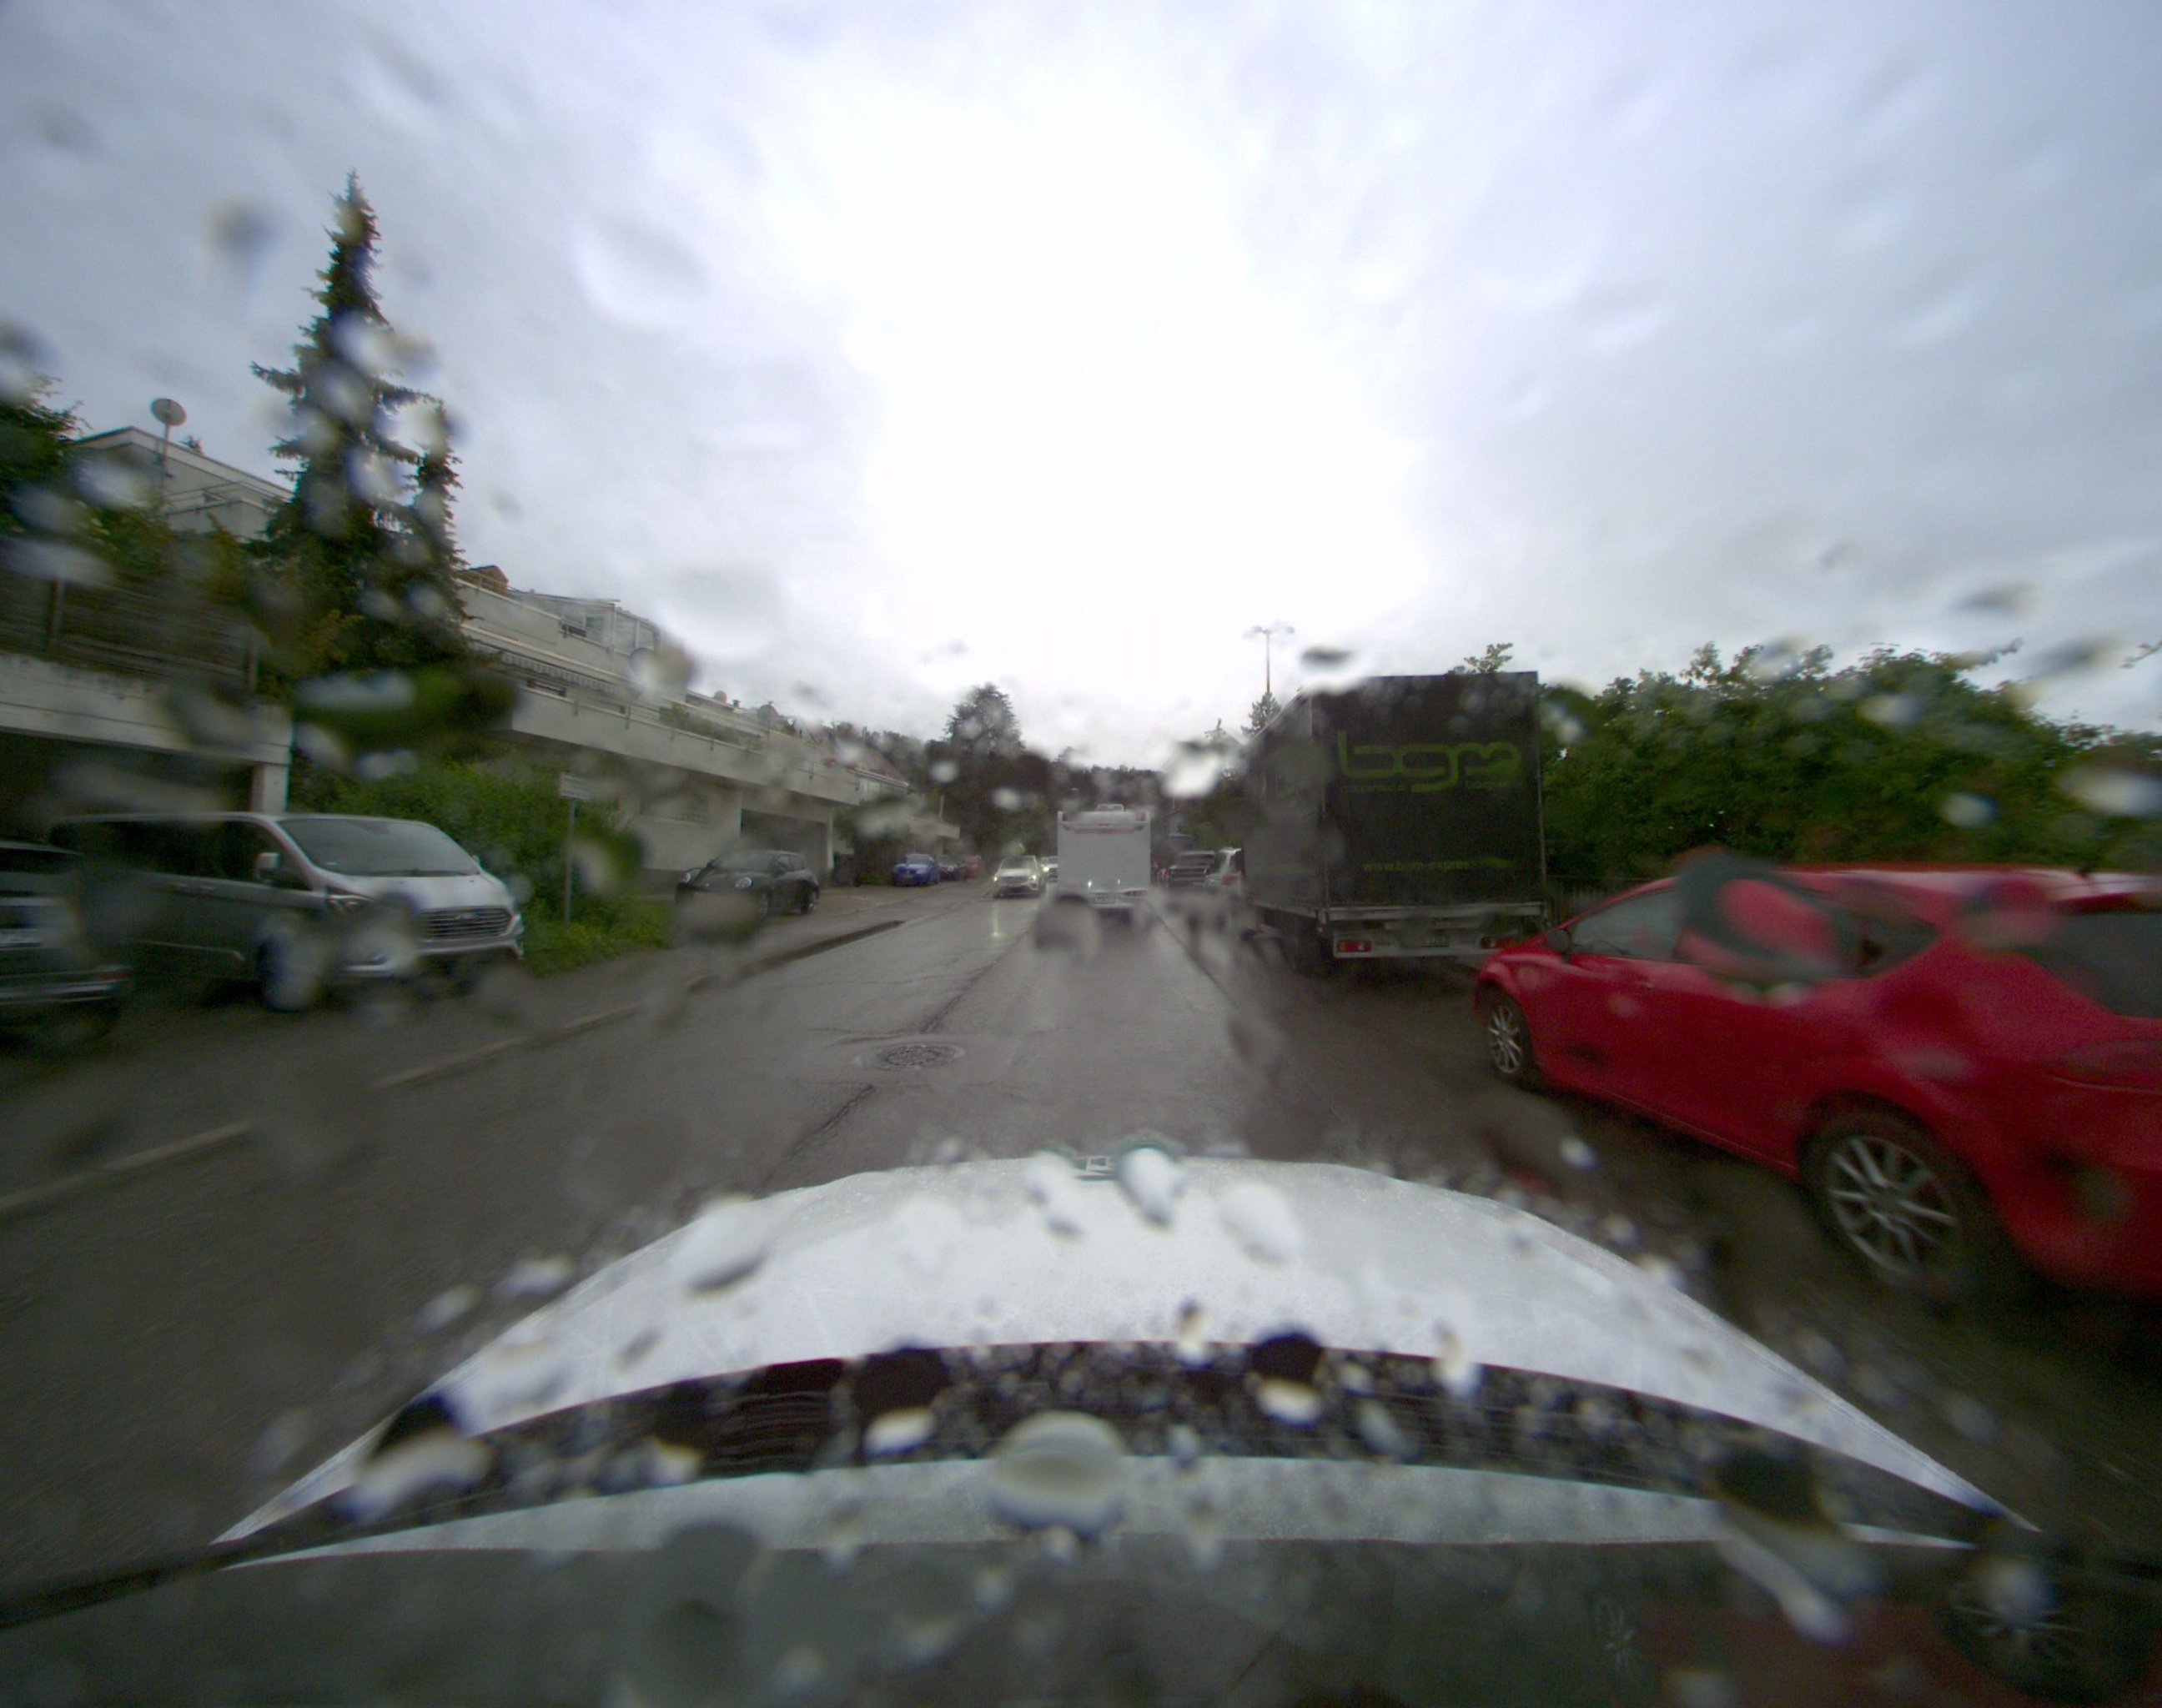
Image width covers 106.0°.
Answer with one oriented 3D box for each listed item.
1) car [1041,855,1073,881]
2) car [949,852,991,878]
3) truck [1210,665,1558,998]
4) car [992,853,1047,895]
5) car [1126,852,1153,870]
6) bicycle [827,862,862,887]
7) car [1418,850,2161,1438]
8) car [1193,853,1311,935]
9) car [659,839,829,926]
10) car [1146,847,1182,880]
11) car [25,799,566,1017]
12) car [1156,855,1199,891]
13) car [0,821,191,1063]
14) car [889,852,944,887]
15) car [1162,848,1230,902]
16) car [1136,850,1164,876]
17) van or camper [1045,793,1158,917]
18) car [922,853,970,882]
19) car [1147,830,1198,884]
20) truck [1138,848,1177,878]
[{"bbox_3d":[-1.529,0.885,53.623,1.792,1.567,4.386,0,0,2],"label":"car"},{"bbox_3d":[-6.989,0.649,51.594,1.767,1.437,4.590,4,0,2],"label":"car"},{"bbox_3d":[3.693,-0.191,12.244,2.427,3.335,7.968,-1,-1,2],"label":"truck"},{"bbox_3d":[-2.459,0.759,33.328,1.900,1.607,4.427,0,0,0],"label":"car"},{"bbox_3d":[4.976,0.571,69.498,1.683,1.457,4.050,1,0,-5],"label":"car"},{"bbox_3d":[-10.060,0.863,34.644,1.549,1.007,0.481,1,0,30],"label":"bicycle"},{"bbox_3d":[3.607,0.728,4.069,1.825,1.438,4.987,-1,-1,1],"label":"car"},{"bbox_3d":[3.973,0.874,19.934,1.839,1.683,5.640,-1,-1,2],"label":"car"},{"bbox_3d":[-7.488,0.567,18.599,1.681,1.588,4.202,6,0,5],"label":"car"},{"bbox_3d":[4.903,0.535,48.729,1.820,1.842,5.273,-1,0,2],"label":"car"},{"bbox_3d":[-8.625,0.532,9.027,5.044,1.944,2.151,-1,-1,18],"label":"car"},{"bbox_3d":[4.103,0.764,35.032,1.582,1.429,3.801,-1,0,3],"label":"car"},{"bbox_3d":[-9.246,0.565,6.106,4.022,1.638,1.902,1,-1,18],"label":"car"},{"bbox_3d":[-7.556,0.679,37.728,1.601,1.434,3.960,3,0,1],"label":"car"},{"bbox_3d":[3.876,0.663,28.172,1.928,1.672,4.699,-1,0,3],"label":"car"},{"bbox_3d":[5.368,0.693,63.782,1.853,1.921,5.080,0,0,1],"label":"car"},{"bbox_3d":[0.607,0.111,21.970,2.605,2.853,6.033,1,-2,2],"label":"van or camper"},{"bbox_3d":[-7.114,0.689,43.252,1.627,1.396,4.241,3,0,2],"label":"car"},{"bbox_3d":[4.566,0.165,41.541,2.024,2.505,5.958,-1,0,2],"label":"car"},{"bbox_3d":[5.075,0.590,55.089,2.106,1.852,6.619,1,0,1],"label":"truck"}]
